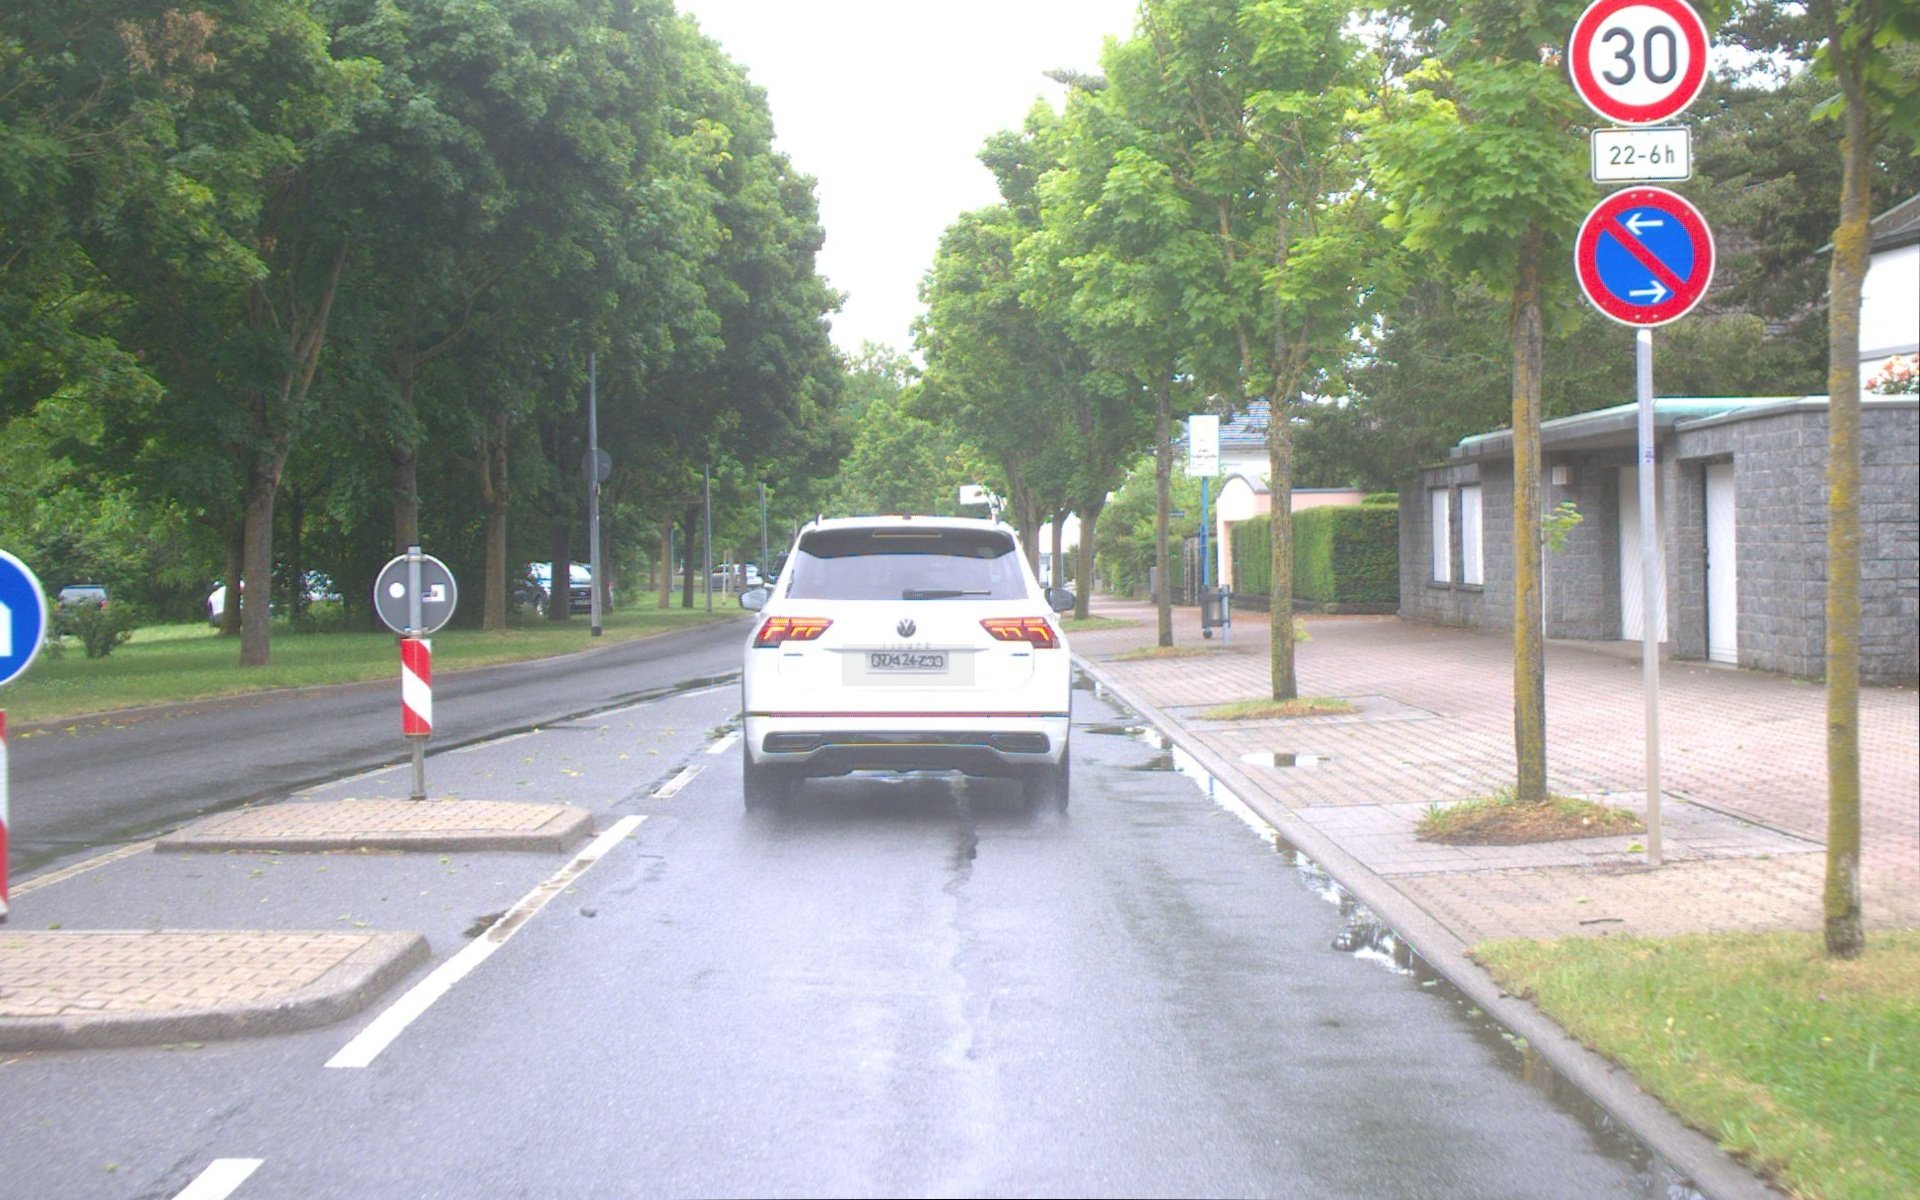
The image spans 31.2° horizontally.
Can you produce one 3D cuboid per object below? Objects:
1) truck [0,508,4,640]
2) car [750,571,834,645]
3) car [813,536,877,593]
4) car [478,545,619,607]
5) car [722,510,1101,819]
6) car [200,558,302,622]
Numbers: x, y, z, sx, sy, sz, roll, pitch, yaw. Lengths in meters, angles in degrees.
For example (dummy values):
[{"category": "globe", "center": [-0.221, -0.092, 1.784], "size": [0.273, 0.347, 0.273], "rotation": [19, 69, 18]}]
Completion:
[{"category": "truck", "center": [-19.779, -0.457, 65.122], "size": [2.284, 2.588, 5.875], "rotation": [-1, 1, -7]}, {"category": "car", "center": [-3.843, 0.164, 79.081], "size": [1.814, 1.642, 4.000], "rotation": [0, 1, -1]}, {"category": "car", "center": [-3.367, -1.069, 101.407], "size": [1.756, 1.642, 4.000], "rotation": [0, 1, 0]}, {"category": "car", "center": [-10.356, -0.593, 86.268], "size": [1.841, 1.477, 3.999], "rotation": [-2, 1, -35]}, {"category": "car", "center": [-0.337, 0.295, 20.132], "size": [1.996, 1.626, 4.001], "rotation": [0, 1, -2]}, {"category": "car", "center": [-17.232, -0.262, 83.425], "size": [1.841, 1.477, 4.001], "rotation": [-2, 1, -20]}]
